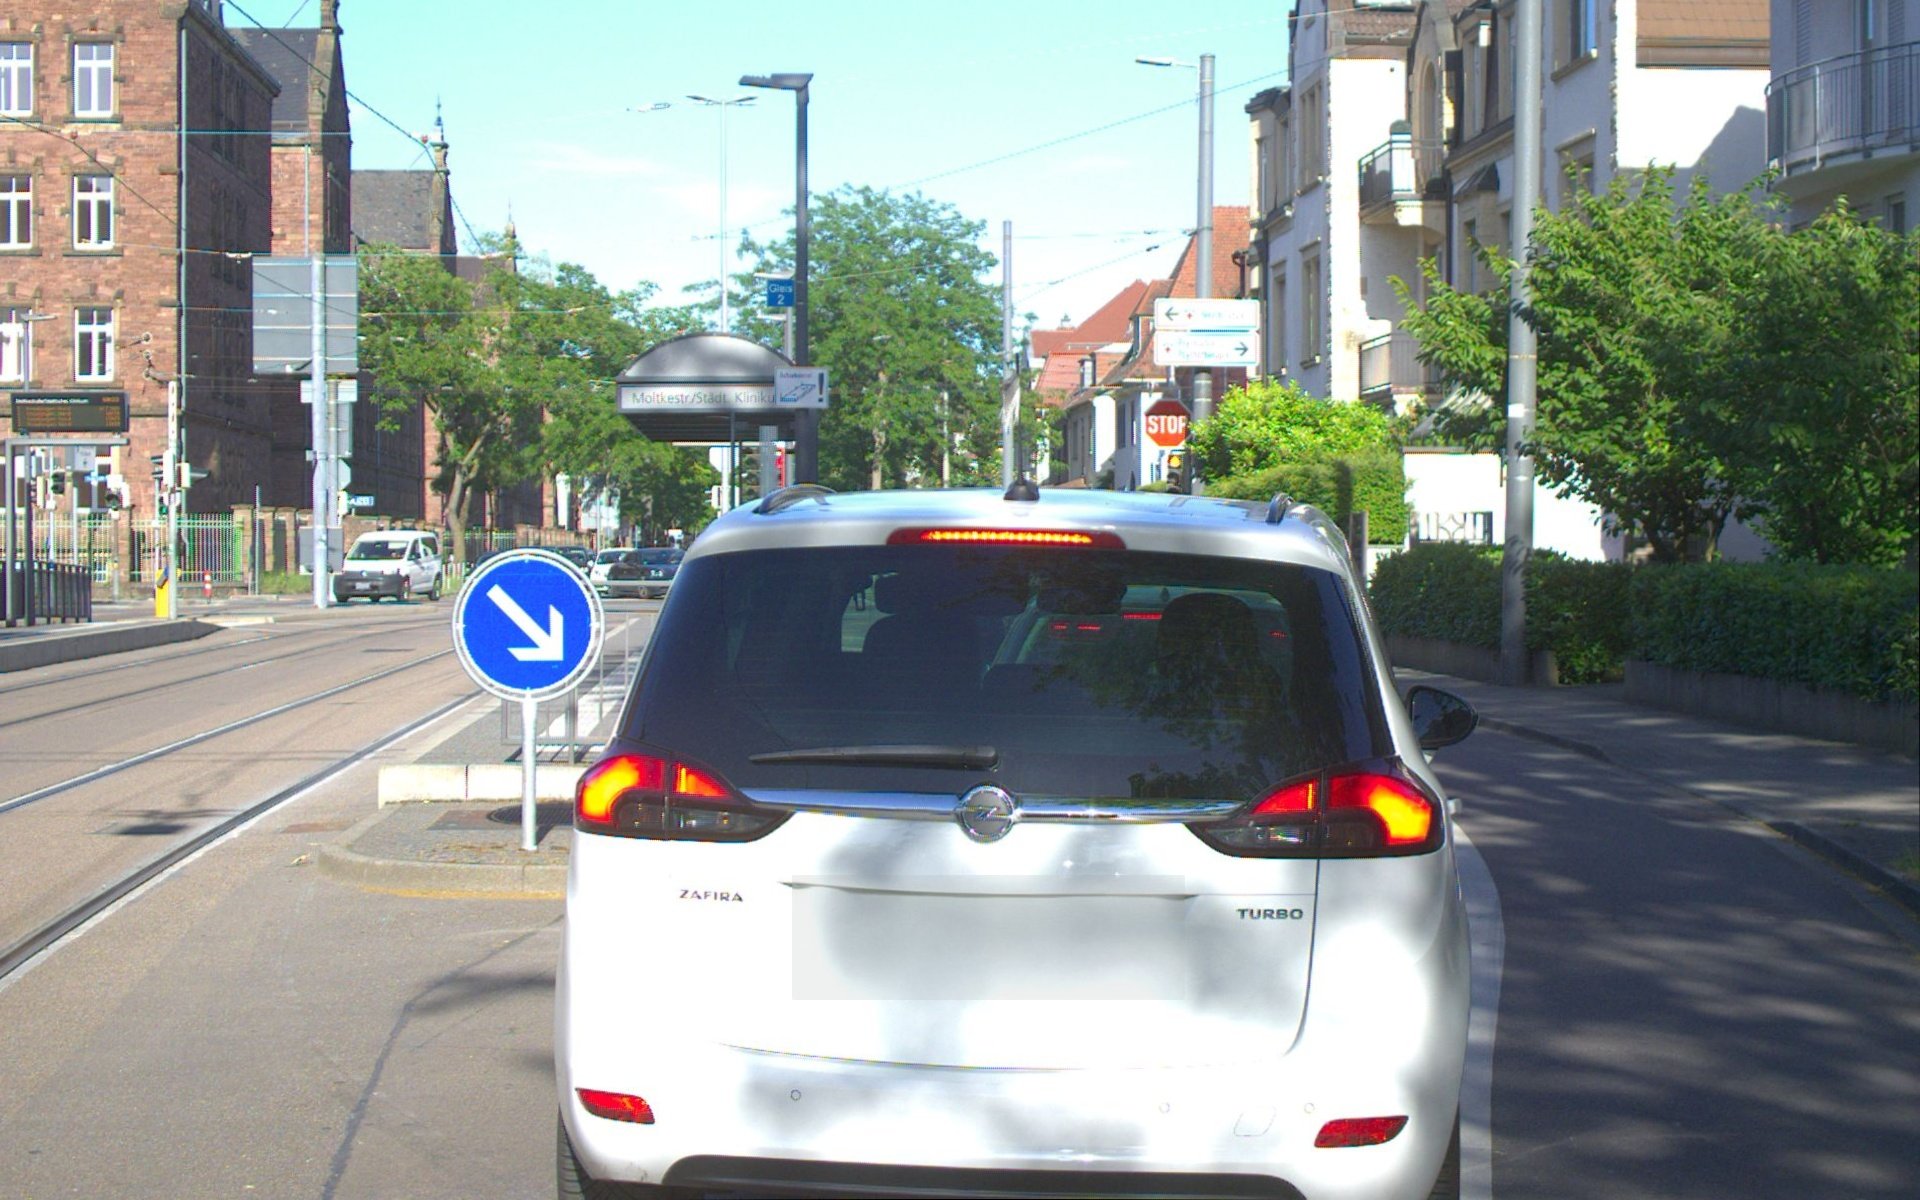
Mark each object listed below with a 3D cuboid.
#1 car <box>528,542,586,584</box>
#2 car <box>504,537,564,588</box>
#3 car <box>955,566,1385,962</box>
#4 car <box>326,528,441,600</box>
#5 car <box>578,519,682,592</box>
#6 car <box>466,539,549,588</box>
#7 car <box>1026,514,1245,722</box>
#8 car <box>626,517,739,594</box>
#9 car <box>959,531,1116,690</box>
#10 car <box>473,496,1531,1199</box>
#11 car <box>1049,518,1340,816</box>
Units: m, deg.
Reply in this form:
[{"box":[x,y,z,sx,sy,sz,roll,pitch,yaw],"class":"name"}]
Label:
[{"box":[-14.185,-1.301,121.276,1.826,1.441,4.328,0,0,-4],"class":"car"},{"box":[-14.019,-1.221,113.336,1.826,1.611,4.328,0,0,-5],"class":"car"},{"box":[0.948,0.593,14.787,1.569,1.396,3.783,2,1,5],"class":"car"},{"box":[-14.652,-0.935,87.615,1.827,1.782,4.254,0,1,6],"class":"car"},{"box":[-9.351,-1.274,97.209,1.993,2.007,4.001,0,1,-20],"class":"car"},{"box":[-13.237,-1.077,100.807,1.798,1.377,4.495,0,1,1],"class":"car"},{"box":[1.458,0.111,29.805,1.596,1.629,3.901,2,1,-1],"class":"car"},{"box":[-7.419,-1.193,91.593,1.993,2.007,4.001,0,1,-20],"class":"car"},{"box":[0.833,0.075,39.021,1.596,1.629,3.902,2,1,-1],"class":"car"},{"box":[0.234,0.568,8.092,1.878,1.579,3.999,0,1,5],"class":"car"},{"box":[1.467,0.334,21.036,1.569,1.609,3.783,2,1,5],"class":"car"}]
